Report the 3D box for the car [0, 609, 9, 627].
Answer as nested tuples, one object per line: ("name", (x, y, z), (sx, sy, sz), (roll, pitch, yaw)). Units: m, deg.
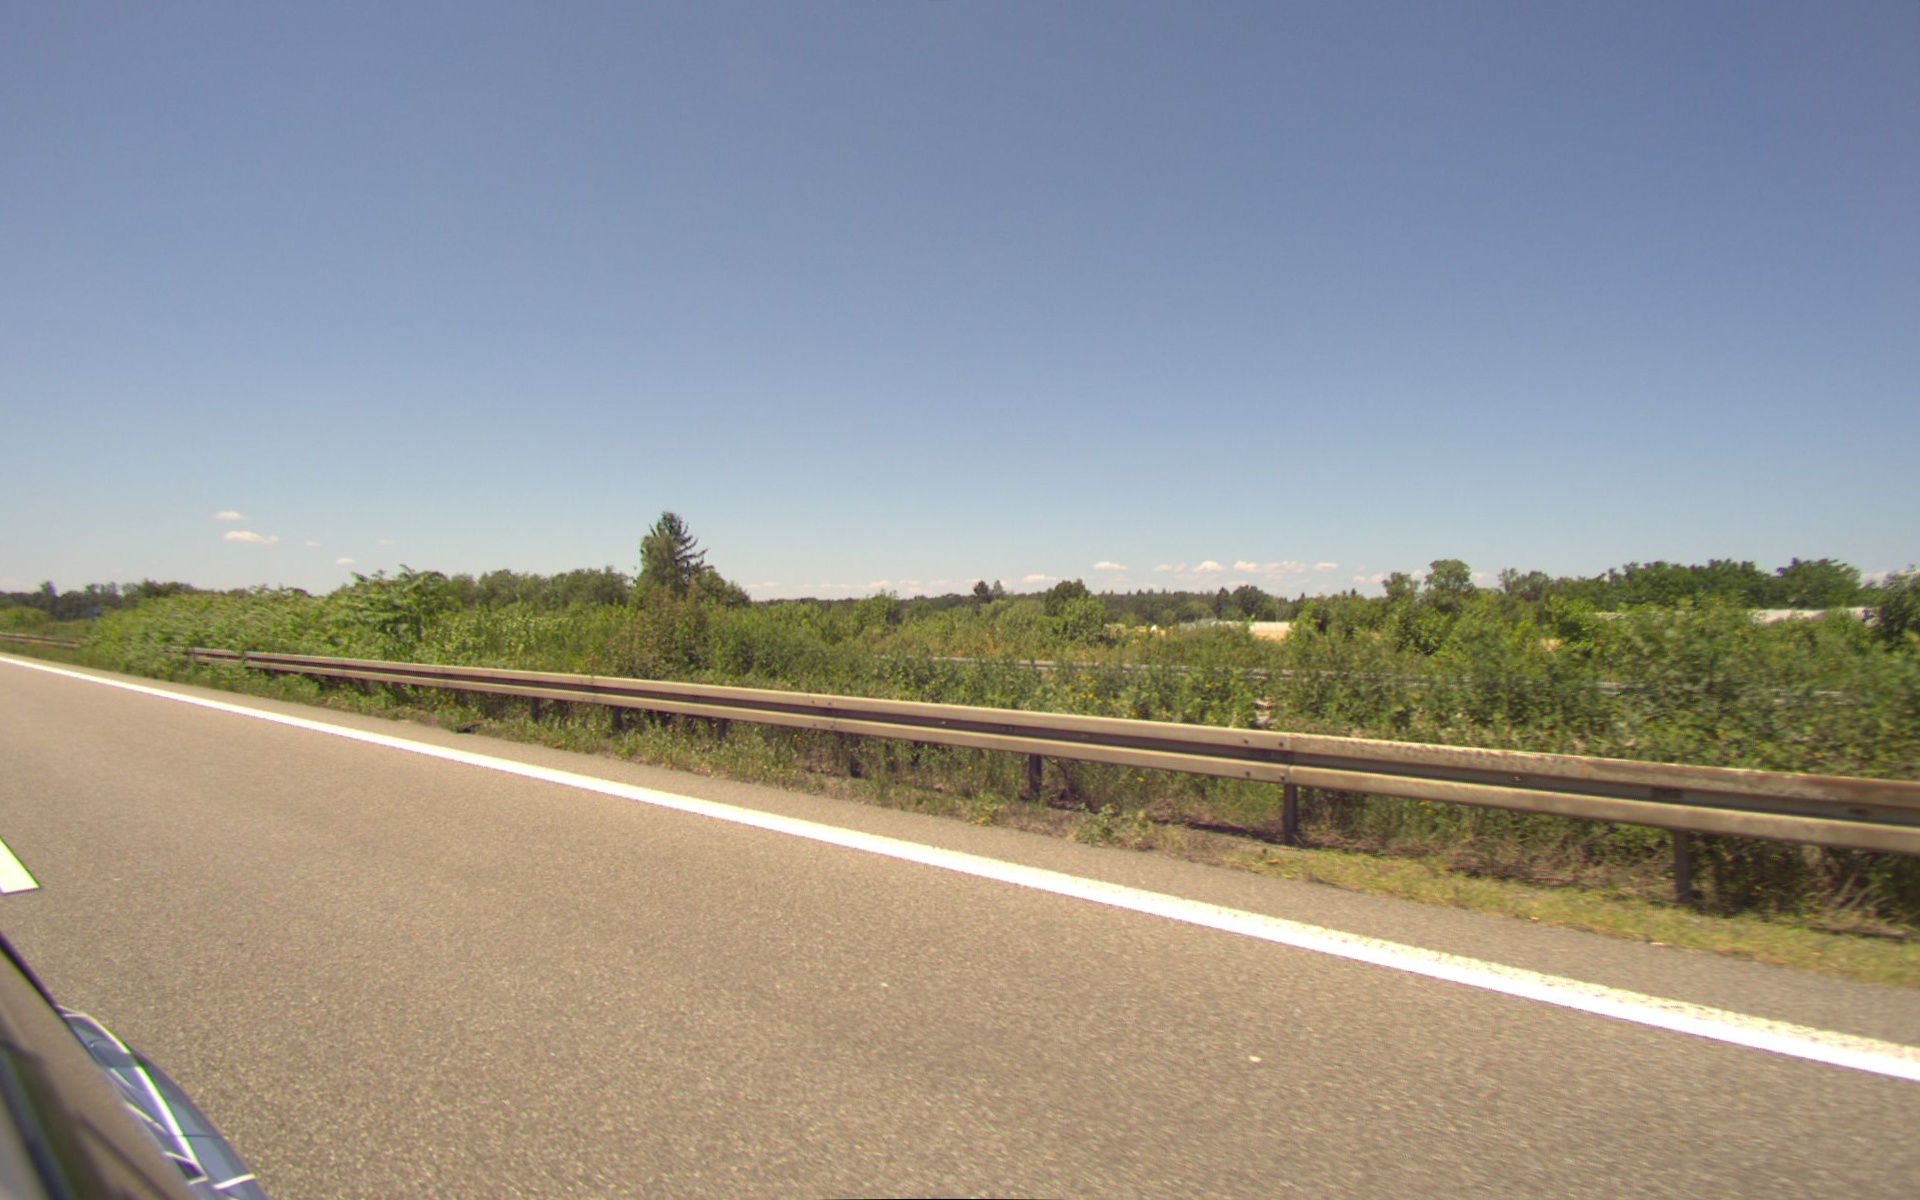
("car", (-148.848, 2.771, 156.147), (5.516, 2.729, 2.445), (-1, 0, 41))
